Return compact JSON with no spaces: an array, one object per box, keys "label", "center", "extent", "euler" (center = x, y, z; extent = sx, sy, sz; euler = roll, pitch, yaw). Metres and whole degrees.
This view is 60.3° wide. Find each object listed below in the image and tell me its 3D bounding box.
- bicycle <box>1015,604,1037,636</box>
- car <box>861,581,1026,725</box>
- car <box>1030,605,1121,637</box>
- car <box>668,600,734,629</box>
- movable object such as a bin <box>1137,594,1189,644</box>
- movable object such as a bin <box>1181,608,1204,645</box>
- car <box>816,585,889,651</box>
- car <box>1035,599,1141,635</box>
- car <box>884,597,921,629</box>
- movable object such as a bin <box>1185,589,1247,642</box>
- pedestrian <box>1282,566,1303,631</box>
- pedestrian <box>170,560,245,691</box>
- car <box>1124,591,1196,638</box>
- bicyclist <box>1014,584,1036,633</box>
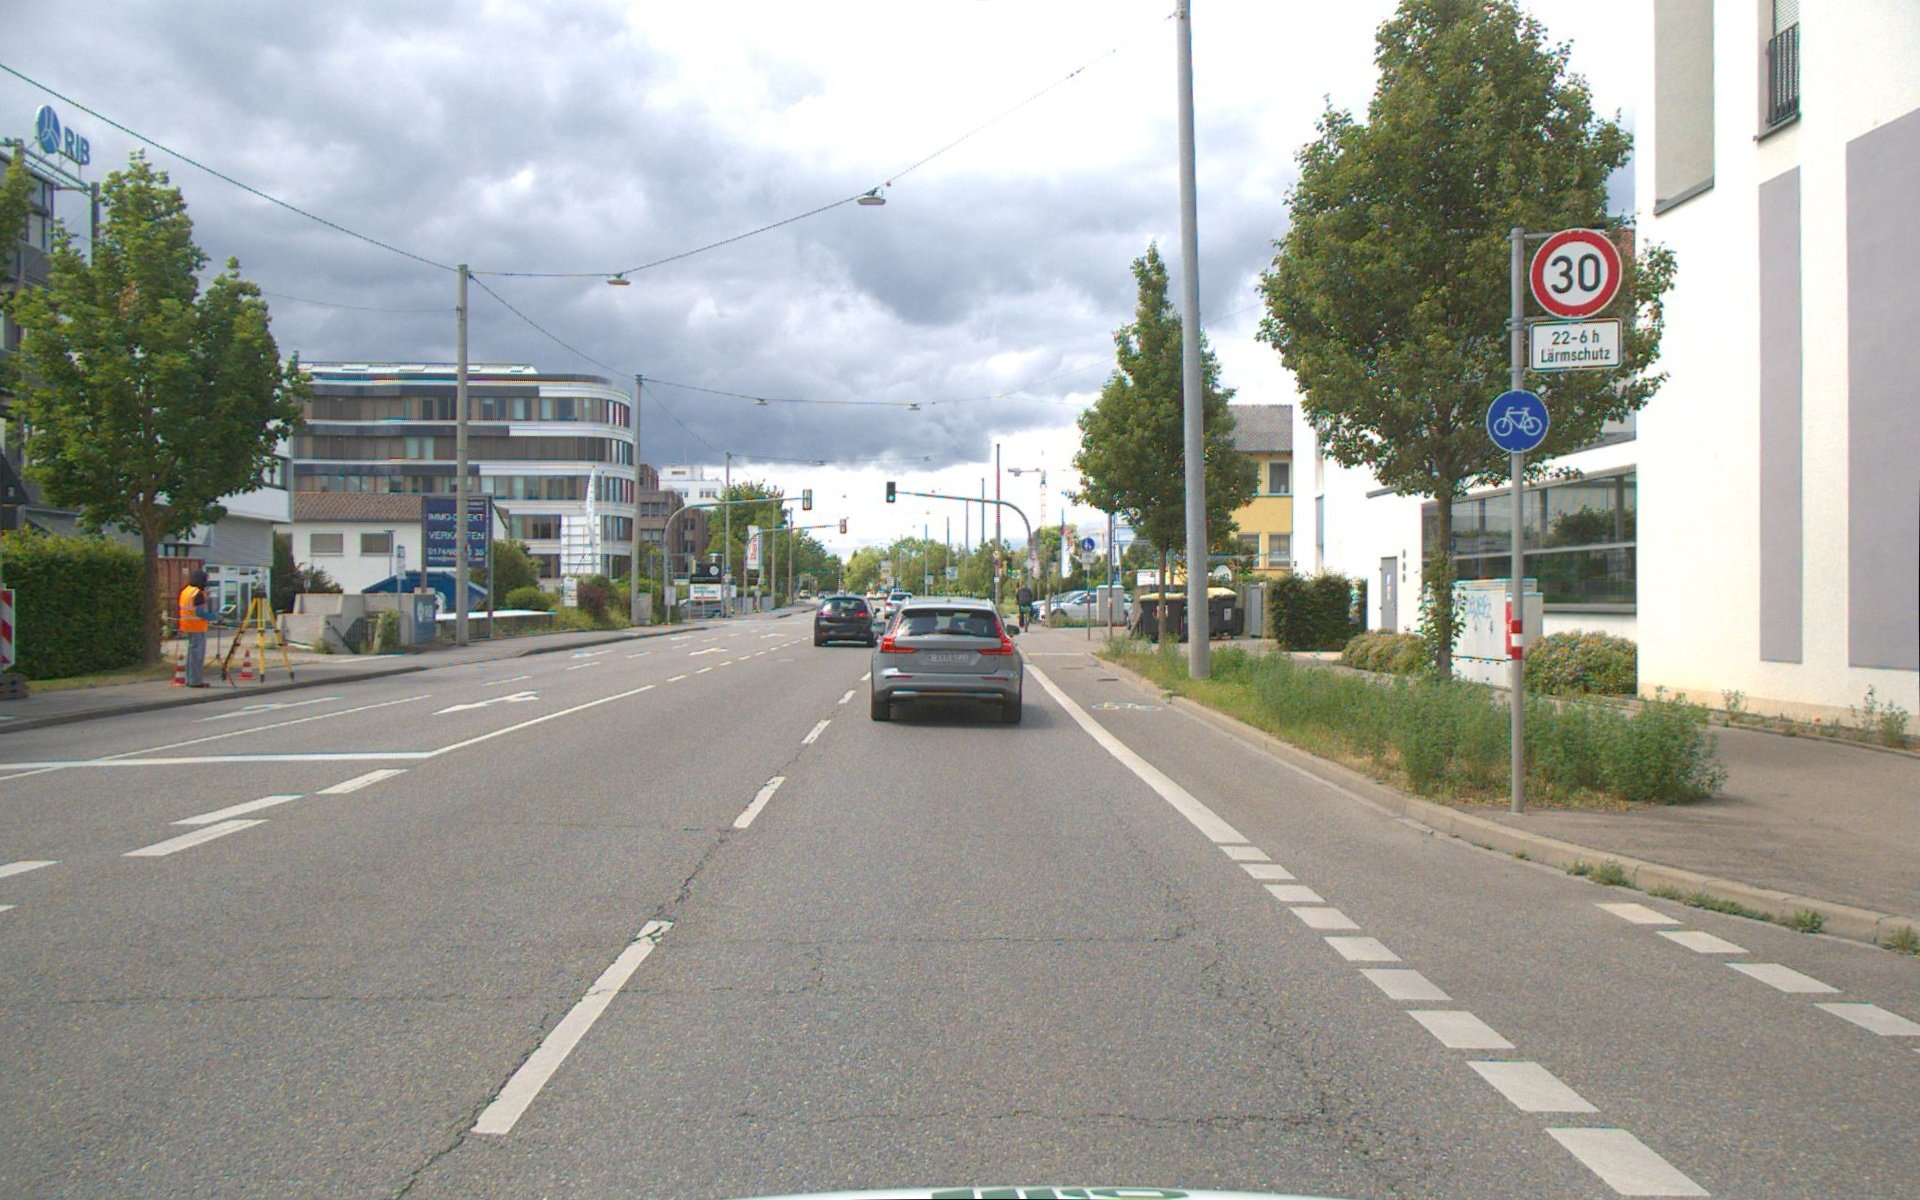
[{"label":"bicycle","center":[2.334,0.717,58.779],"extent":[0.625,1.081,1.977],"euler":[-3,0,-1]},{"label":"car","center":[-0.194,0.649,20.993],"extent":[1.857,1.581,3.999],"euler":[2,-1,0]},{"label":"car","center":[5.659,1.008,81.494],"extent":[4.281,1.428,1.987],"euler":[2,0,-3]},{"label":"car","center":[-16.594,0.944,106.123],"extent":[4.018,1.422,1.904],"euler":[-6,1,-8]},{"label":"movable object such as a bin","center":[5.742,0.561,46.691],"extent":[1.291,1.385,1.252],"euler":[-1,-2,15]},{"label":"movable object such as a bin","center":[6.699,0.769,47.649],"extent":[0.557,1.044,0.404],"euler":[-1,-2,36]},{"label":"car","center":[-3.061,0.540,47.607],"extent":[1.954,1.747,3.997],"euler":[2,-1,-3]},{"label":"car","center":[5.833,0.768,75.741],"extent":[4.601,1.519,2.045],"euler":[1,0,-2]},{"label":"car","center":[-3.226,0.747,93.044],"extent":[1.953,1.724,3.998],"euler":[2,-1,-2]},{"label":"movable object such as a bin","center":[7.273,0.460,46.974],"extent":[1.297,1.461,1.246],"euler":[-1,-2,36]},{"label":"pedestrian","center":[9.214,-0.039,45.791],"extent":[0.496,1.796,0.501],"euler":[1,-1,15]},{"label":"pedestrian","center":[-12.038,0.413,26.476],"extent":[0.713,2.049,0.806],"euler":[0,-2,42]},{"label":"car","center":[7.004,0.501,58.409],"extent":[1.837,1.572,4.519],"euler":[-1,0,-2]},{"label":"bicyclist","center":[2.301,0.304,58.786],"extent":[0.625,1.704,0.890],"euler":[-3,0,-1]}]
